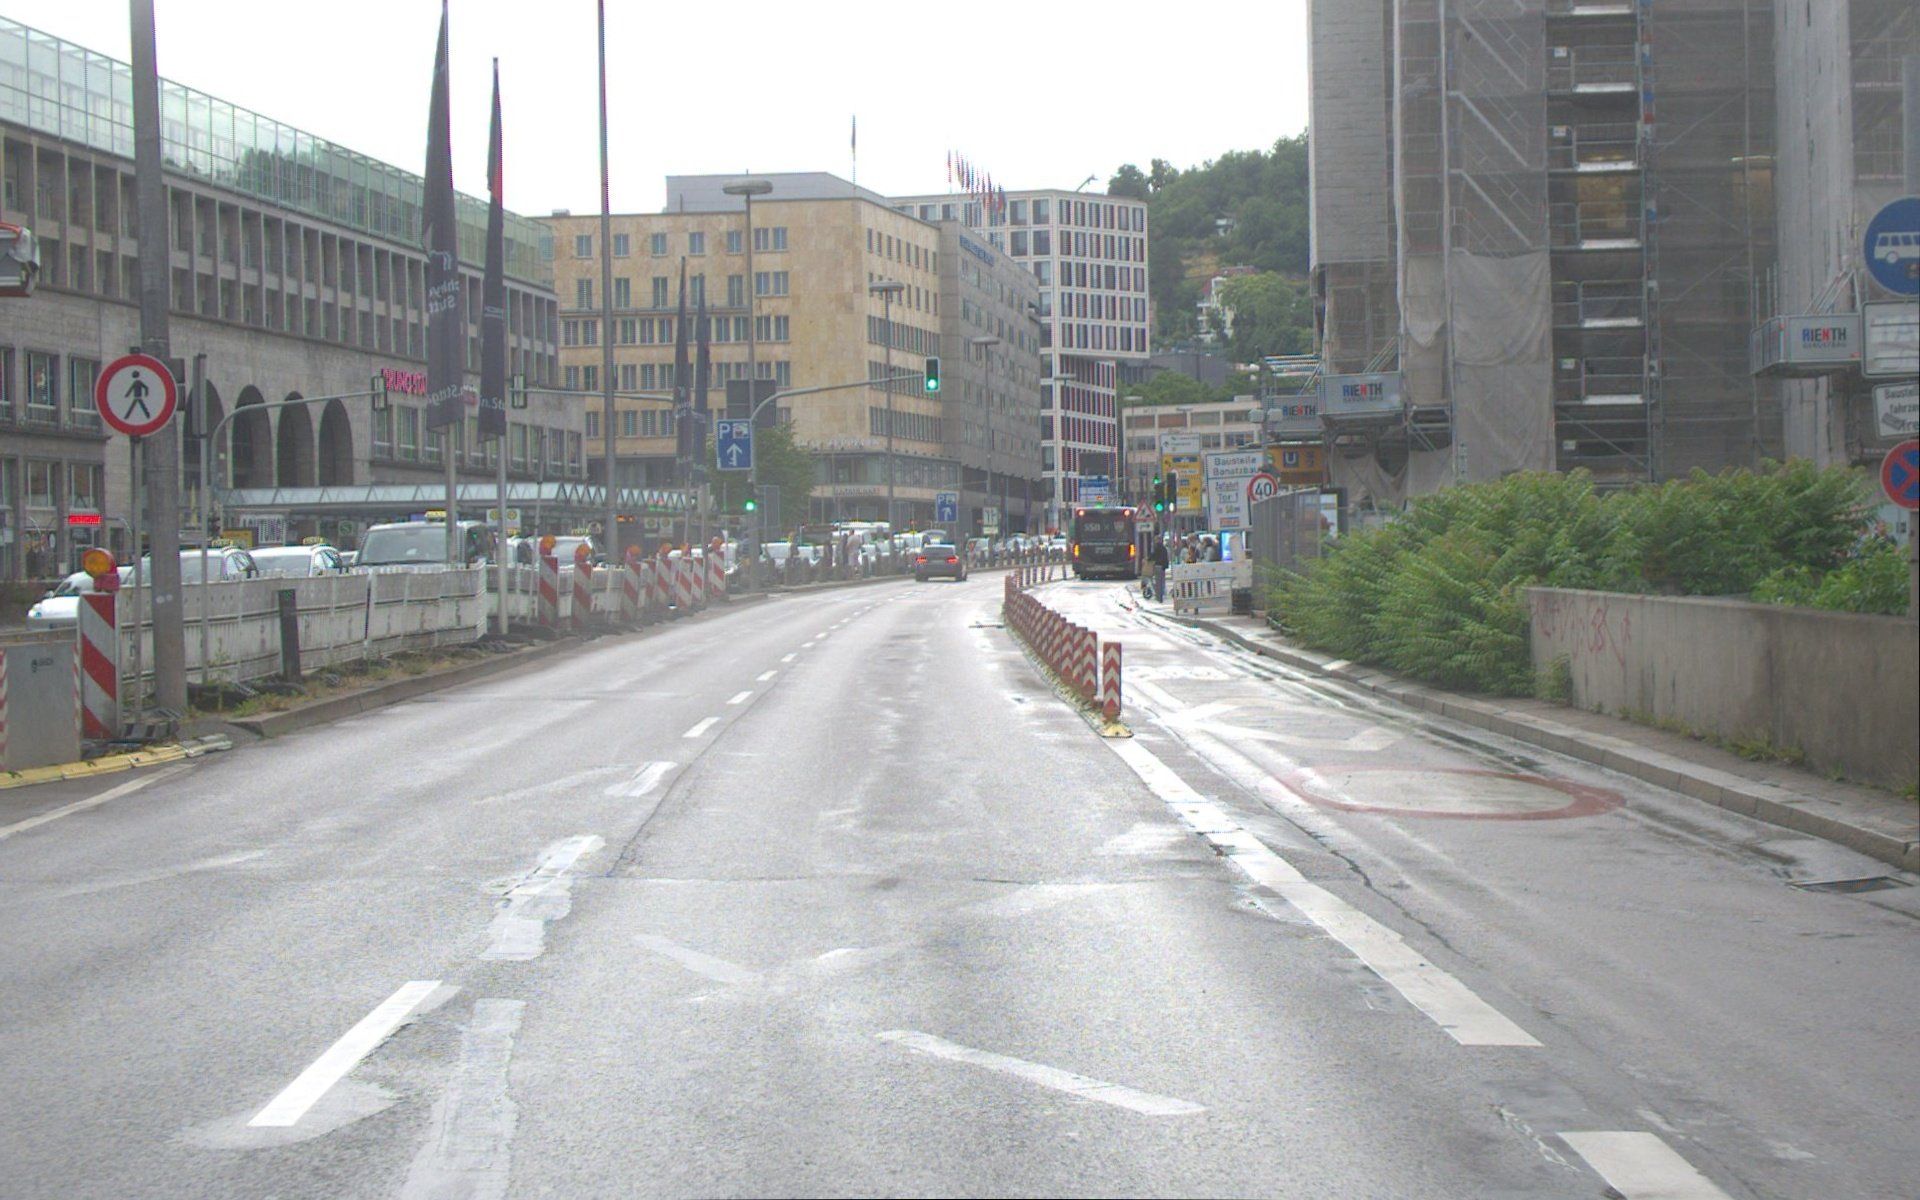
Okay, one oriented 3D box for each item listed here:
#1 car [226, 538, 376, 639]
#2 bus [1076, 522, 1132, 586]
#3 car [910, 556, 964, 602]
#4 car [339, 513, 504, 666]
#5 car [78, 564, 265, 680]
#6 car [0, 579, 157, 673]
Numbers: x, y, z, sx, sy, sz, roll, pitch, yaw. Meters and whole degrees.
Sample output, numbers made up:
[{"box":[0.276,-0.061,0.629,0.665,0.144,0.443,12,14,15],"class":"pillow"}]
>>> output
[{"box":[-11.439,-0.174,59.926,1.902,1.523,4.177,-2,-2,-2],"class":"car"},{"box":[6.049,-1.898,144.434,1.994,2.423,3.999,-3,-2,6],"class":"bus"},{"box":[-0.912,-0.797,134.115,1.902,1.523,4.177,-2,-2,-2],"class":"car"},{"box":[-8.092,-0.110,51.981,1.902,2.076,4.177,-2,-2,-2],"class":"car"},{"box":[-11.682,0.356,51.202,1.902,1.523,4.177,-2,-2,-2],"class":"car"},{"box":[-16.208,0.506,63.382,1.902,1.523,4.177,-2,-2,-2],"class":"car"}]
